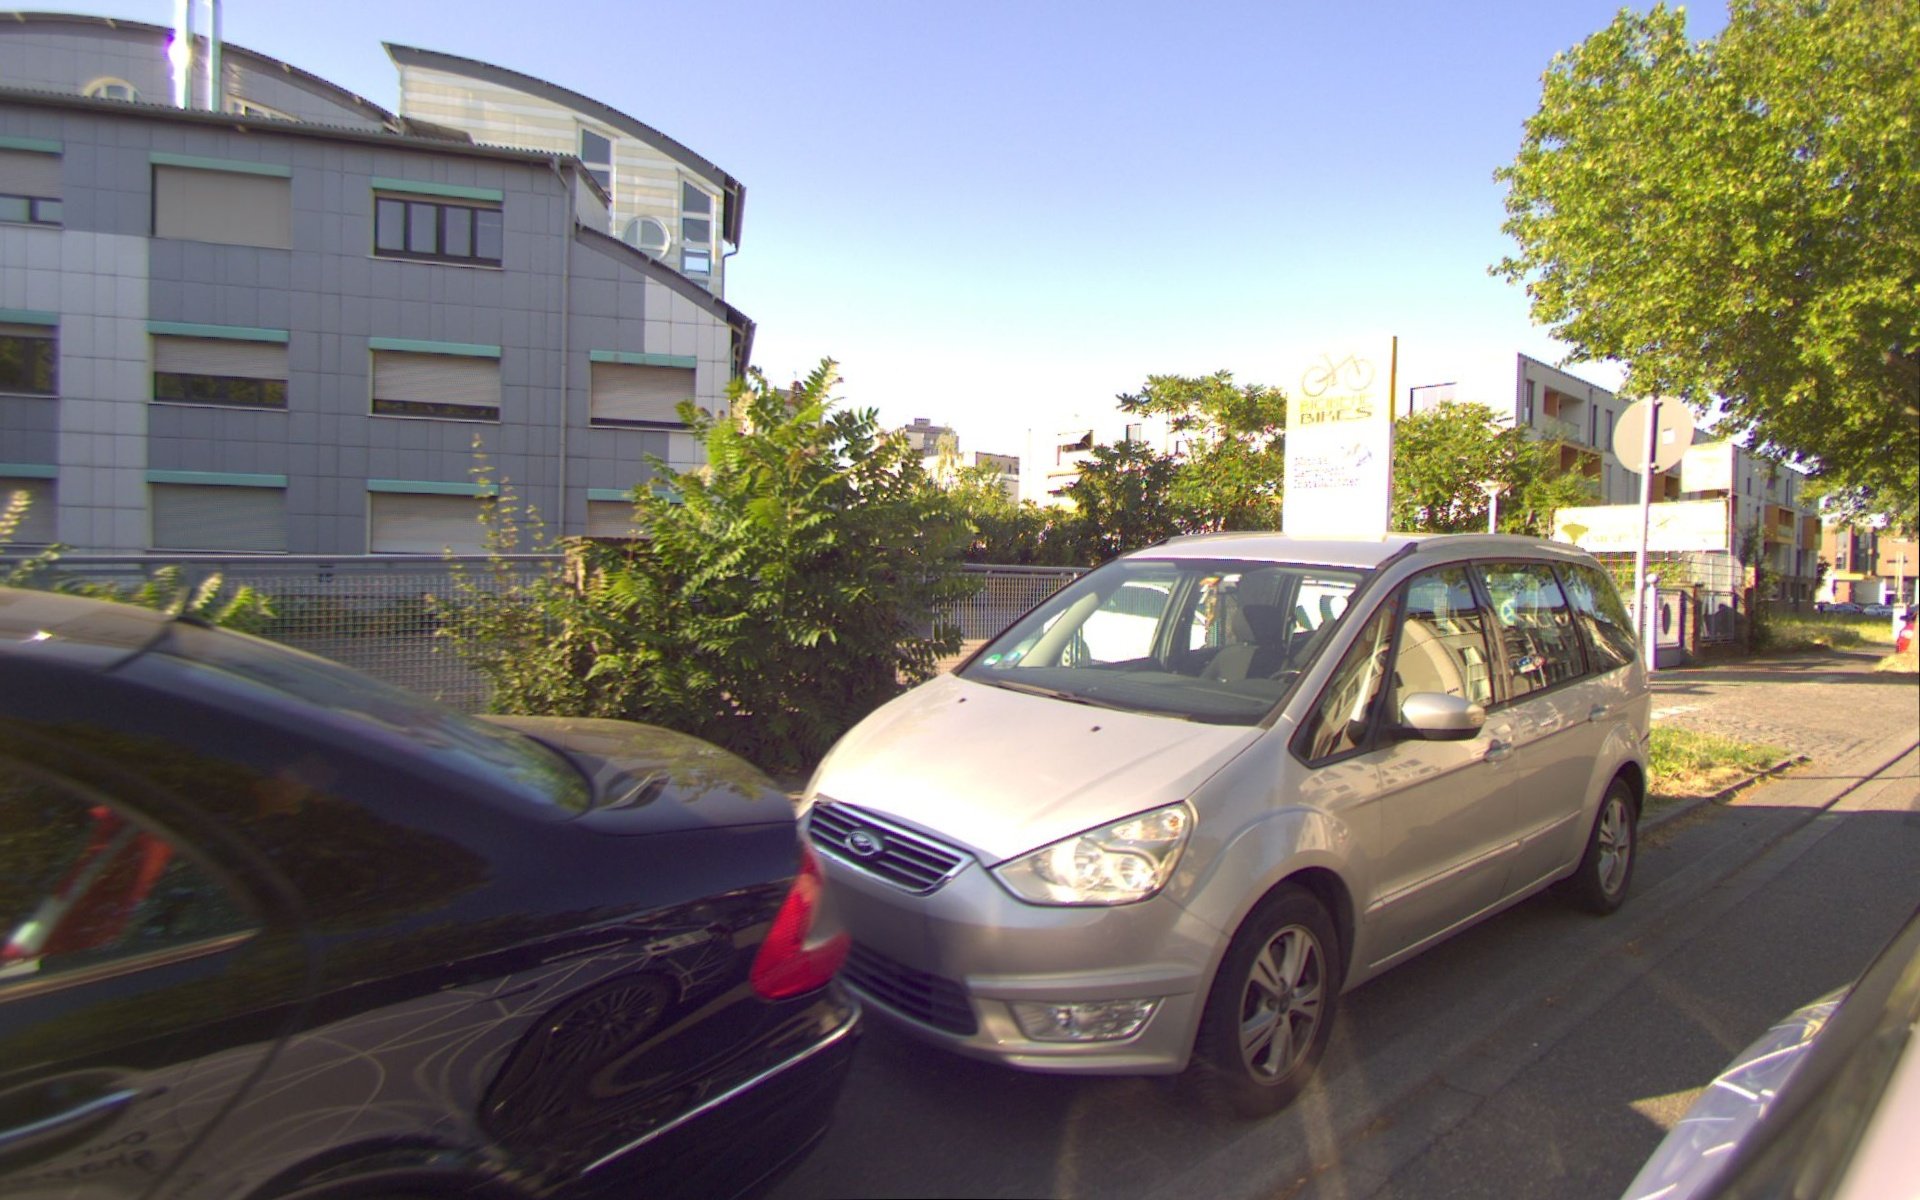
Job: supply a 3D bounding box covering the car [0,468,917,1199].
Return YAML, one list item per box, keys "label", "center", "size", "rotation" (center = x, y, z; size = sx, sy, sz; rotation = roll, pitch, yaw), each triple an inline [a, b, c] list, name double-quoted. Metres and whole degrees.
- label: "car"
  center: [-2.417, 0.578, 1.117]
  size: [4.607, 1.534, 1.786]
  rotation: [0, 3, -41]

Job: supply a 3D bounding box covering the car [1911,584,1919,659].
- label: "car"
  center: [24.158, 0.545, 24.115]
  size: [4.258, 1.710, 1.602]
  rotation: [1, 2, -39]

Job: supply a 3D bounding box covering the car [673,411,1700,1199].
- label: "car"
  center: [1.427, 0.450, 4.528]
  size: [4.831, 1.781, 1.997]
  rotation: [0, 2, -41]

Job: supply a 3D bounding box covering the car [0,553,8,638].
- label: "car"
  center: [-18.469, 0.000, 17.117]
  size: [1.869, 1.593, 4.010]
  rotation: [0, 3, -18]
